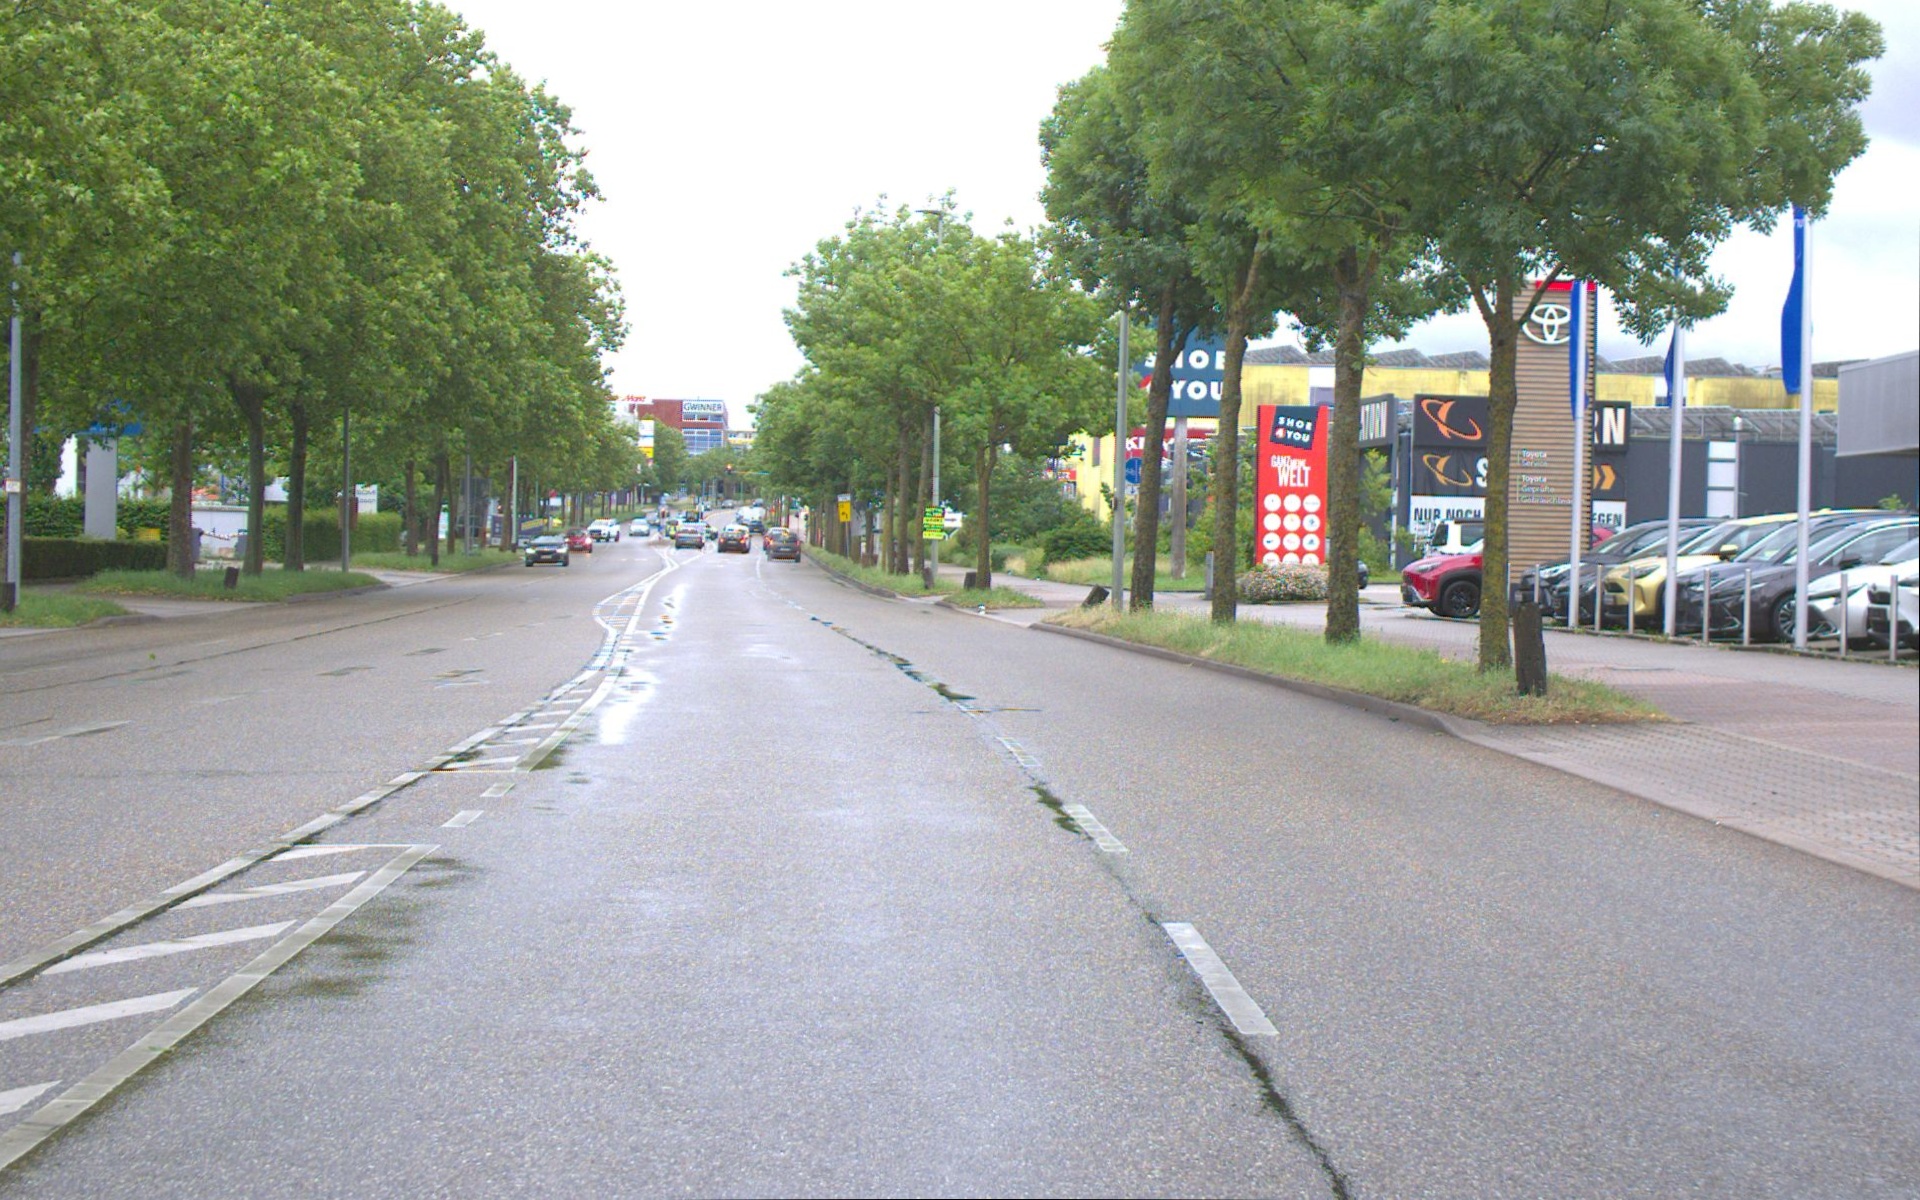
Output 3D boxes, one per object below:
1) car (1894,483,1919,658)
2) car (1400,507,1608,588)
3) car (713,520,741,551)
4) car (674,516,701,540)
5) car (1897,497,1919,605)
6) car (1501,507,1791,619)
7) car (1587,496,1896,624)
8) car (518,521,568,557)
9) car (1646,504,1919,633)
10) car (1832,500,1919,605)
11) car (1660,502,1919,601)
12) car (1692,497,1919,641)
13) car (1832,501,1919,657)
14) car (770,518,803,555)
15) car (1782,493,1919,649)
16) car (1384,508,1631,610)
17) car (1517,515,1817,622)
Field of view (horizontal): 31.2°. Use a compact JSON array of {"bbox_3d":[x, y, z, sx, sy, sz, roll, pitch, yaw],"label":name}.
[{"bbox_3d":[11.749,-0.419,34.807,3.987,1.780,1.812,-4,1,-1],"label":"car"},{"bbox_3d":[13.833,-1.332,87.524,4.820,2.007,1.991,0,1,-13],"label":"car"},{"bbox_3d":[-15.432,-4.297,228.008,1.745,2.007,4.001,0,1,-2],"label":"car"},{"bbox_3d":[-19.882,-5.233,250.937,1.745,1.695,4.001,1,1,-2],"label":"car"},{"bbox_3d":[15.340,-0.732,50.473,1.874,1.616,4.123,-1,1,-2],"label":"car"},{"bbox_3d":[10.389,-0.572,52.207,3.986,1.641,1.845,0,1,-3],"label":"car"},{"bbox_3d":[10.944,-0.573,48.275,3.838,1.560,1.667,-3,1,-5],"label":"car"},{"bbox_3d":[-17.340,-2.540,143.066,1.804,1.458,3.846,0,1,-3],"label":"car"},{"bbox_3d":[11.384,-0.448,46.017,3.987,1.542,1.711,-3,1,-1],"label":"car"},{"bbox_3d":[15.468,-0.785,54.947,1.874,1.616,4.123,-1,1,-2],"label":"car"},{"bbox_3d":[14.224,-0.839,58.784,4.109,1.616,1.880,-1,1,1],"label":"car"},{"bbox_3d":[11.483,-0.407,43.607,3.987,1.780,1.812,0,1,-1],"label":"car"},{"bbox_3d":[11.816,-0.364,37.529,3.986,1.582,1.812,-4,2,-4],"label":"car"},{"bbox_3d":[-9.495,-3.470,188.329,1.745,2.007,4.001,1,1,-2],"label":"car"},{"bbox_3d":[11.829,-0.347,40.183,3.987,1.780,1.812,0,1,-1],"label":"car"},{"bbox_3d":[9.332,-0.709,58.772,3.841,1.598,1.795,-2,1,-3],"label":"car"},{"bbox_3d":[10.352,-0.472,50.531,3.986,1.533,1.800,0,1,-3],"label":"car"}]
